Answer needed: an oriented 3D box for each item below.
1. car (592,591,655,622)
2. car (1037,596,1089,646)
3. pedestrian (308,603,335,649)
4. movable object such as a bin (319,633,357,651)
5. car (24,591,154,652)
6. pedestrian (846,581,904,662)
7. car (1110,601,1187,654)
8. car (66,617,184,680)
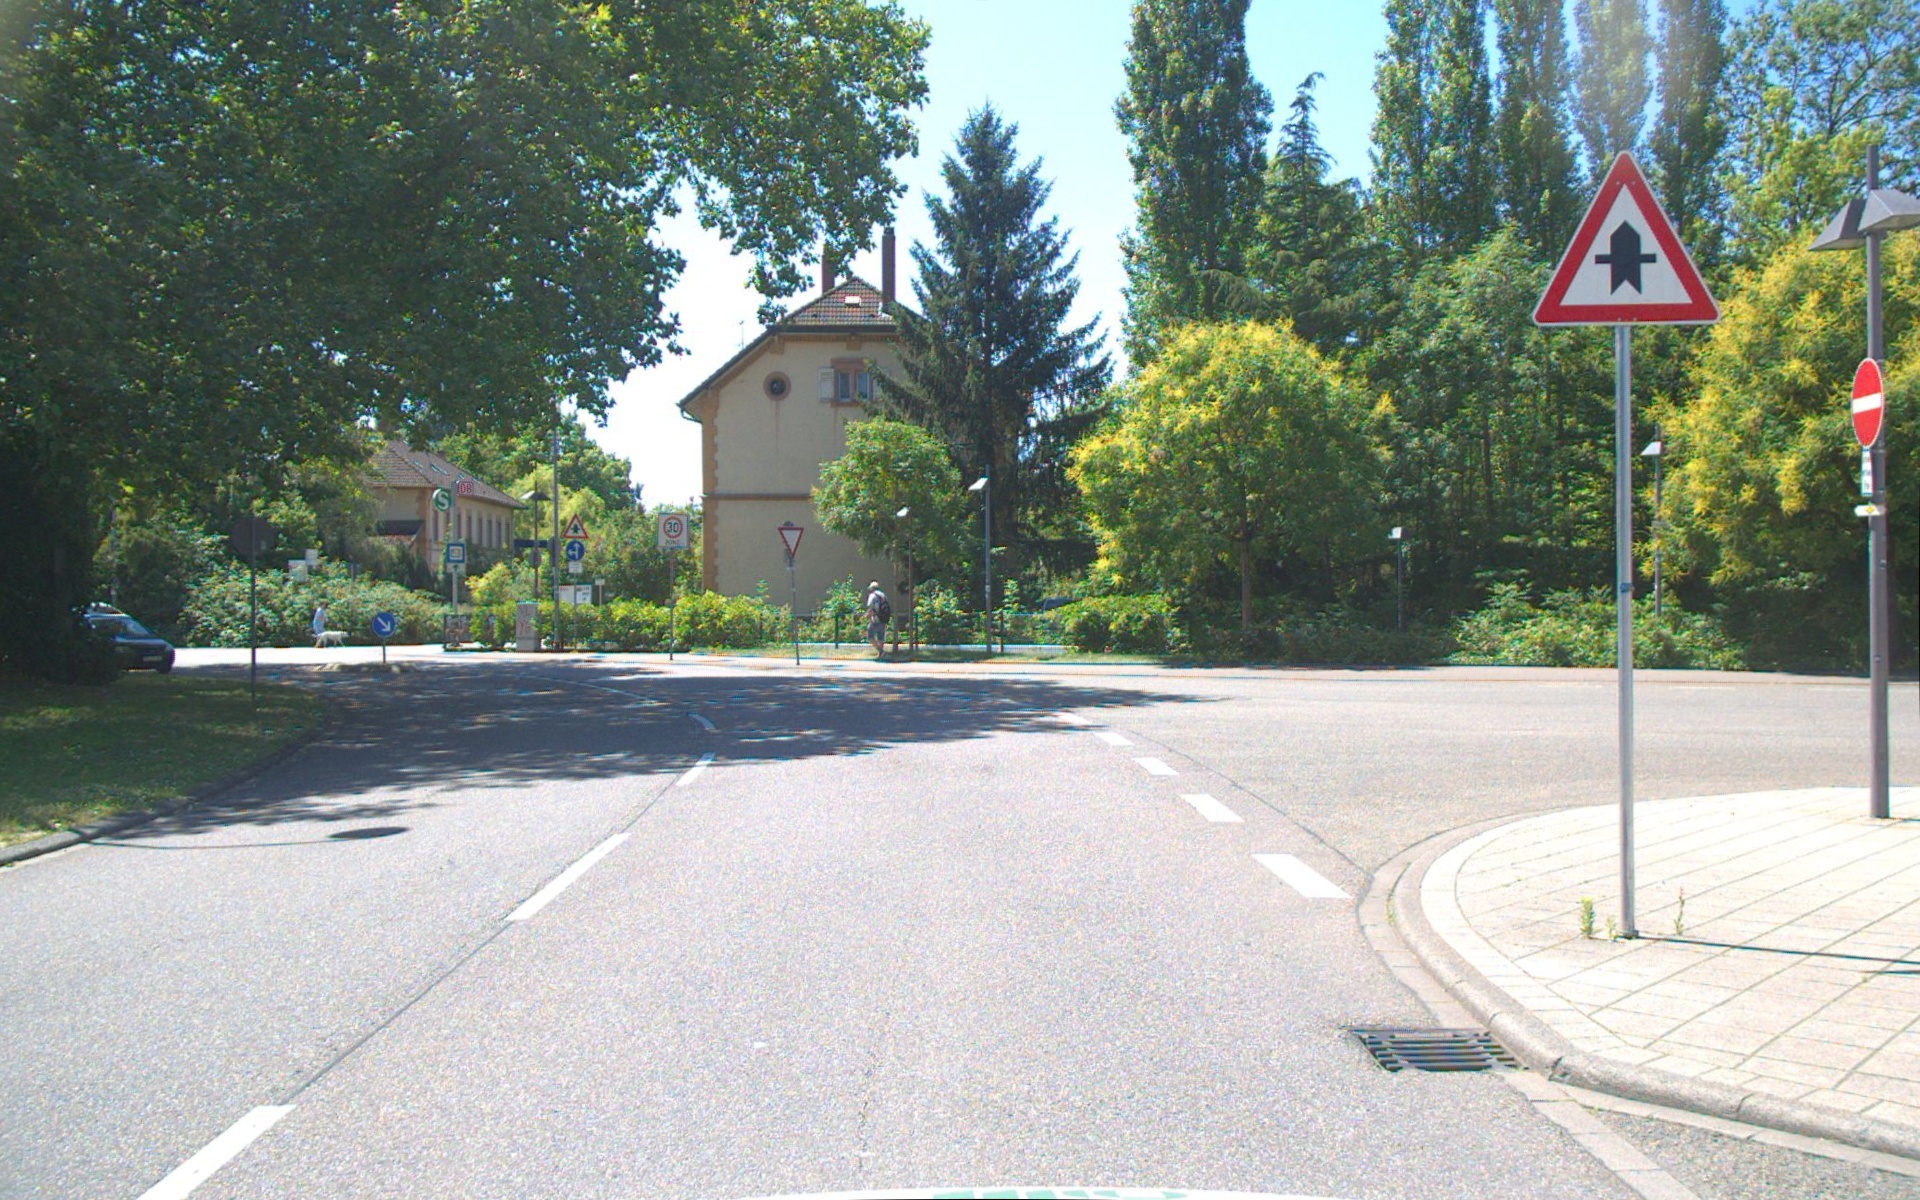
[{"bbox_3d":[-26.008,0.476,127.982,4.352,2.362,2.203,0,0,2],"label":"car"},{"bbox_3d":[3.367,0.667,54.215,1.615,1.563,3.971,0,0,3],"label":"car"},{"bbox_3d":[-23.267,0.934,60.284,0.685,1.656,0.615,1,1,32],"label":"pedestrian"},{"bbox_3d":[-22.530,1.531,59.944,0.506,0.605,1.239,0,0,34],"label":"movable object such as a bin"},{"bbox_3d":[-28.396,0.741,53.889,4.382,1.643,1.934,-3,-9,36],"label":"car"},{"bbox_3d":[-1.980,0.491,38.598,0.907,1.802,0.902,-4,2,-41],"label":"pedestrian"},{"bbox_3d":[5.611,0.796,49.717,1.728,1.526,4.499,0,0,-1],"label":"car"},{"bbox_3d":[-20.969,1.178,41.467,1.633,1.442,3.938,-2,1,-42],"label":"car"}]
